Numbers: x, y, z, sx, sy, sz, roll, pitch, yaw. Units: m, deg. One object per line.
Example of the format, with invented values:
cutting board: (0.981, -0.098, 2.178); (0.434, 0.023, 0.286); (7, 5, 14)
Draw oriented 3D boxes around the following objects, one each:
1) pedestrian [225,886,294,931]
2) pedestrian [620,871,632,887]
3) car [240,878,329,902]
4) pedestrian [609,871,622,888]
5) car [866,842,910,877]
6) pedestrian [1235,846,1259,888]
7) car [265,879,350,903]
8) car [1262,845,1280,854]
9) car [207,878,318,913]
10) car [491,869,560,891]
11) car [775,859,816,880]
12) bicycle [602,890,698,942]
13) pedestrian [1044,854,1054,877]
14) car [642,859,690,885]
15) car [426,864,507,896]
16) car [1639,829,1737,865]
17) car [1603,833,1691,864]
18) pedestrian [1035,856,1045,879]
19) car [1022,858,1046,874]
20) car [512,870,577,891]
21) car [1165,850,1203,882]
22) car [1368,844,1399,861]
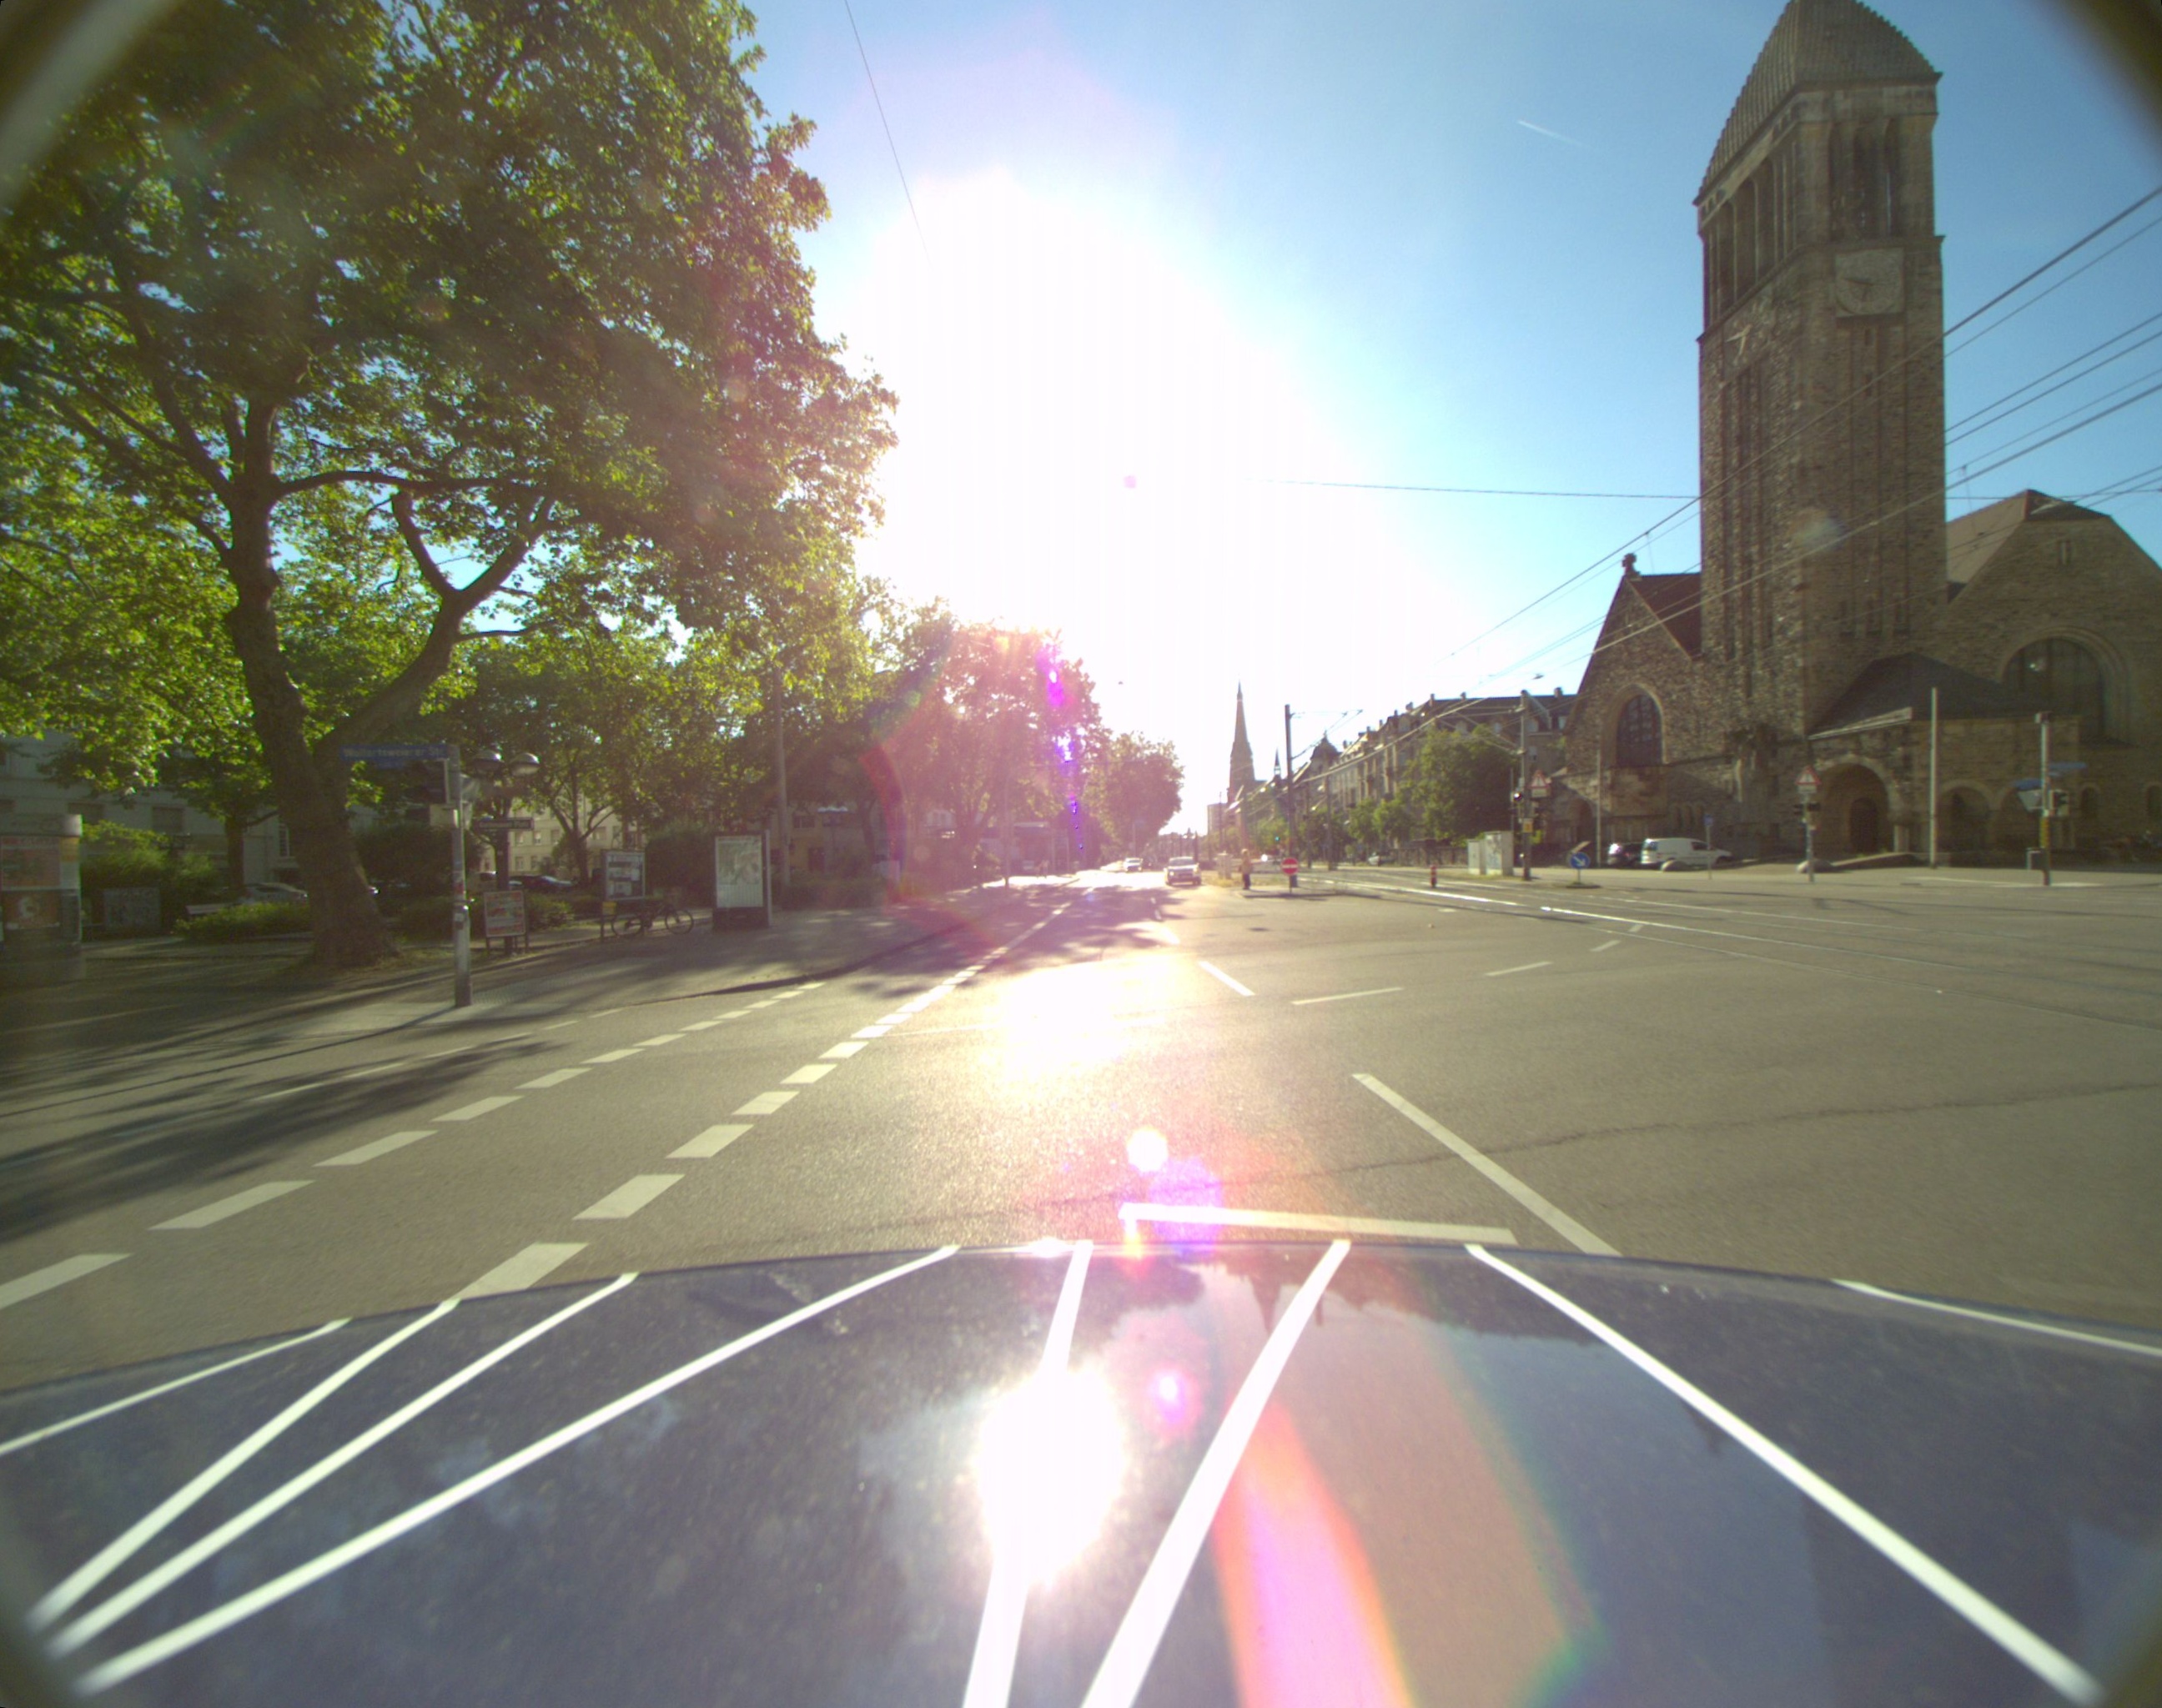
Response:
pedestrian: (-24.797, 1.623, 22.945); (1.140, 1.233, 0.791); (-4, 1, 4)
pedestrian: (-35.481, 1.935, 59.270); (0.632, 1.219, 0.539); (-4, 1, -13)
car: (-54.167, 2.430, 51.723); (4.348, 1.472, 1.780); (0, 1, 4)
pedestrian: (-36.435, 1.993, 59.426); (0.631, 1.219, 0.539); (-4, 1, -9)
car: (-16.217, 0.423, 64.116); (1.998, 2.726, 4.715); (-3, 1, 5)
pedestrian: (6.614, 0.498, 30.252); (0.678, 1.612, 0.925); (-4, 1, 2)
car: (-54.807, 2.618, 53.862); (4.348, 1.512, 1.780); (0, 1, 4)
car: (30.005, -0.704, 120.213); (1.998, 1.419, 4.555); (-1, 1, 5)
car: (-43.961, 2.201, 40.874); (3.996, 1.513, 1.922); (-4, 1, 4)
car: (-43.147, 1.995, 59.062); (3.996, 1.400, 1.779); (-4, 1, 4)
car: (-24.448, 1.290, 65.273); (1.806, 1.649, 4.180); (-2, 0, 1)
bicycle: (-9.965, 1.421, 17.642); (1.826, 1.047, 0.534); (-3, 1, -22)
pedestrian: (-2.644, 0.944, 63.018); (0.631, 1.833, 0.540); (-4, 1, 2)
car: (-35.534, 1.503, 65.204); (1.710, 2.015, 4.180); (-2, 0, 1)
car: (-43.569, 1.846, 53.933); (3.996, 1.905, 2.048); (-4, 1, 4)
car: (35.235, -0.415, 44.173); (4.023, 1.795, 1.870); (-4, 1, 4)
car: (35.033, -0.336, 47.120); (4.039, 1.621, 1.769); (-4, 1, 4)
pedestrian: (-3.426, 1.136, 63.228); (0.631, 1.833, 0.540); (-4, 1, 2)
car: (-4.532, 1.117, 73.015); (1.720, 1.319, 3.754); (-4, 1, 4)
car: (-43.164, 2.136, 61.209); (3.996, 1.400, 1.779); (-4, 1, 4)
car: (5.446, 0.610, 40.495); (1.636, 1.491, 4.000); (-4, 1, 4)
car: (31.598, -0.180, 79.577); (1.786, 1.521, 4.215); (-4, 1, 5)
